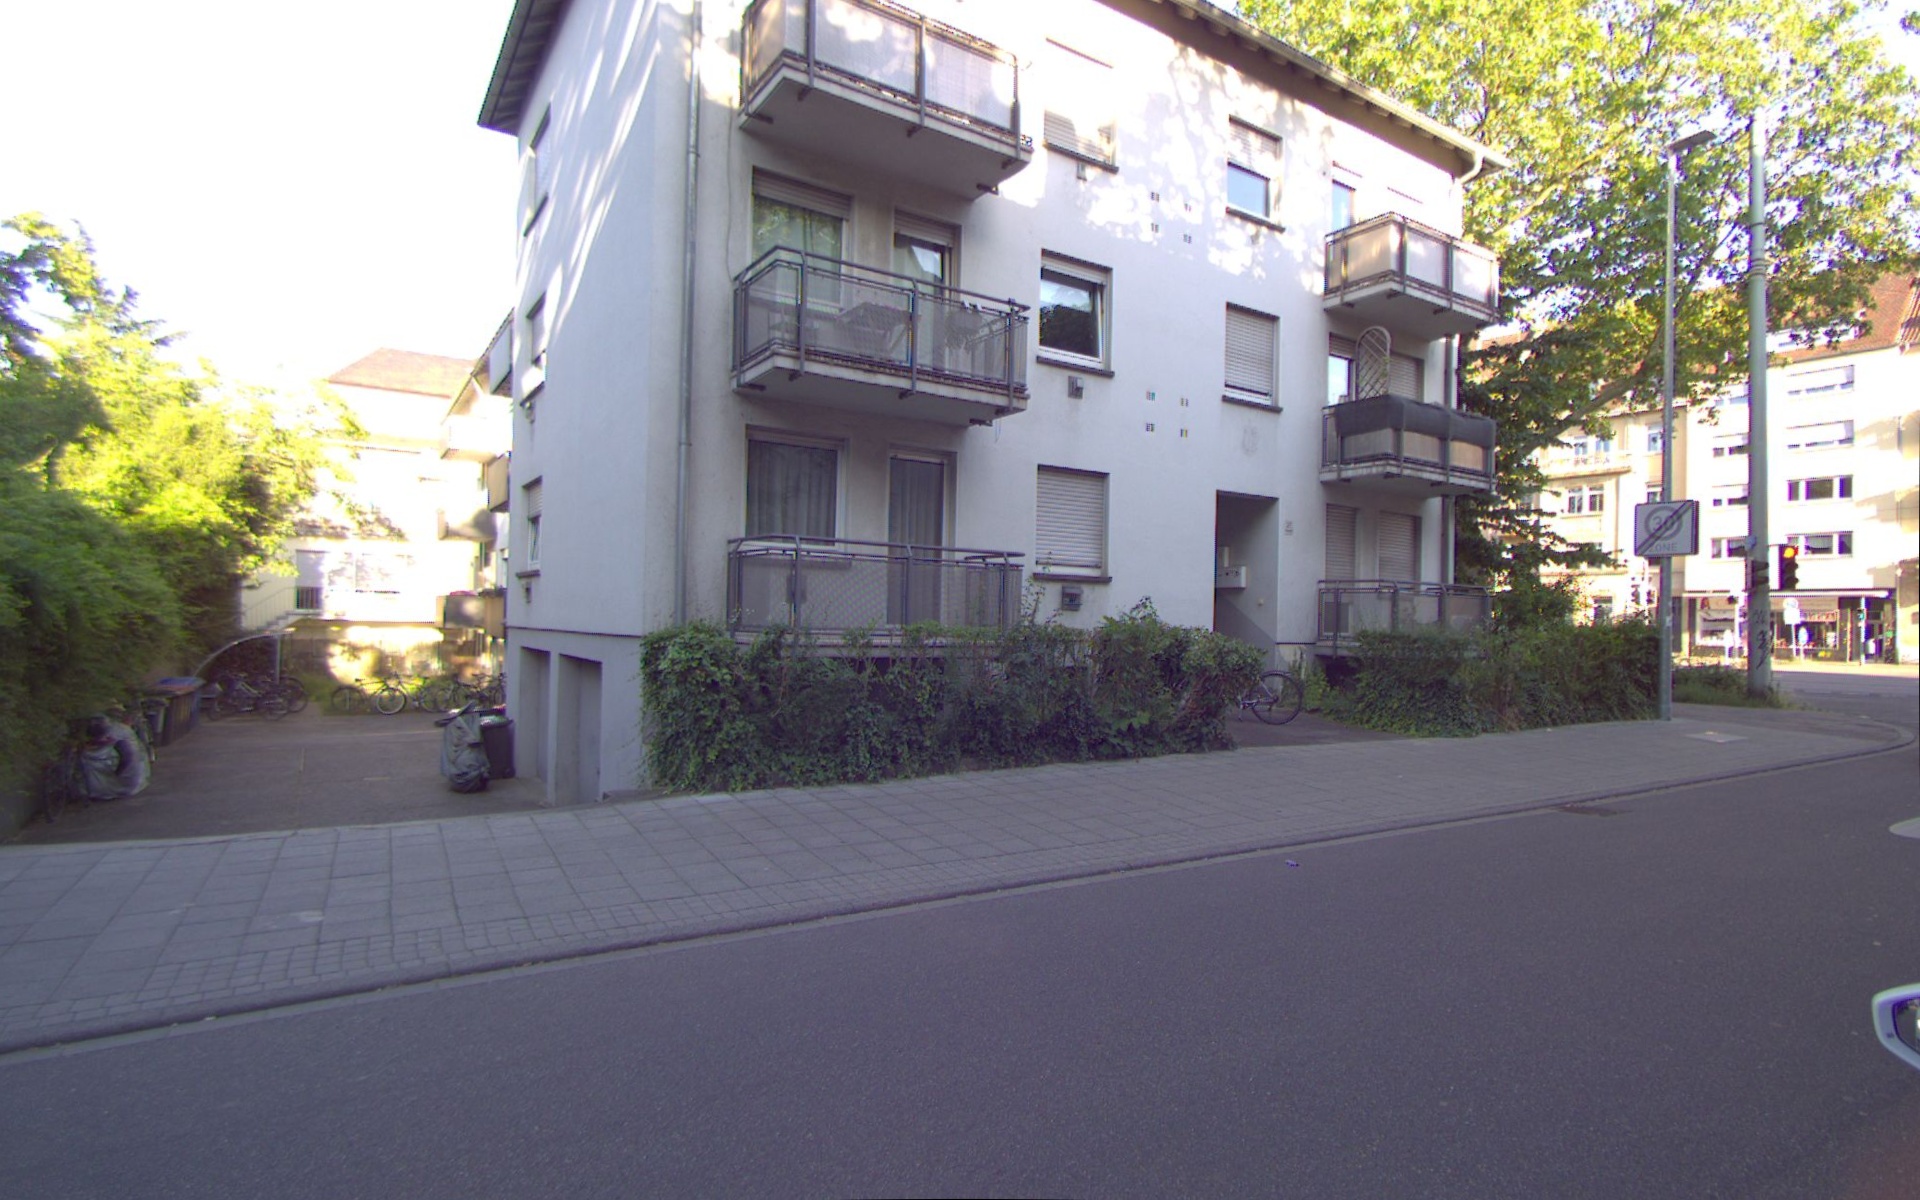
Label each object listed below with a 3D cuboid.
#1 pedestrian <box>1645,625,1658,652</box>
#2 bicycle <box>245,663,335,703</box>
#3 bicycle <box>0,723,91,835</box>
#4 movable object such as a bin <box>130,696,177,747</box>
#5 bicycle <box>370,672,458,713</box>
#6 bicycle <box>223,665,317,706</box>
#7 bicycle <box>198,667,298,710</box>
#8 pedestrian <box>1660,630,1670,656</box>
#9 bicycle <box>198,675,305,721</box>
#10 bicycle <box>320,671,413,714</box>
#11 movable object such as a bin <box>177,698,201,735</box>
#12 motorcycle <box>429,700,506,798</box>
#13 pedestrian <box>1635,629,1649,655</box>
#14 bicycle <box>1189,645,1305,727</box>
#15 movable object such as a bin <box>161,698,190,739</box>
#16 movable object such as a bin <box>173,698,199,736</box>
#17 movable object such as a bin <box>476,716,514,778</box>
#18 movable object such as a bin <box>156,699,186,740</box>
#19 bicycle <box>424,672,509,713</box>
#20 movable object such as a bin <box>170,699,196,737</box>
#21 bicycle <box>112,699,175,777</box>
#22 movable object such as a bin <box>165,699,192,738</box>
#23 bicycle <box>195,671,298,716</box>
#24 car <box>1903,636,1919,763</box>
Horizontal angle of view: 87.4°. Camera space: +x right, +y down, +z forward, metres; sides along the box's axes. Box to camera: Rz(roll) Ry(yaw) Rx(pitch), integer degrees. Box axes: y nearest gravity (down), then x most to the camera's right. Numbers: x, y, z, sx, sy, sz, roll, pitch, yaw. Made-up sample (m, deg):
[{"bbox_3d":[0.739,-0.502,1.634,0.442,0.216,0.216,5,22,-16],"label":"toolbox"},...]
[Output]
[{"bbox_3d":[40.272,2.246,58.493,0.558,1.531,0.499,0,-1,41],"label":"pedestrian"},{"bbox_3d":[-19.016,2.359,28.569,2.045,1.034,0.564,4,0,-30],"label":"bicycle"},{"bbox_3d":[-11.004,2.095,12.066,0.509,1.033,1.922,3,-1,-32],"label":"bicycle"},{"bbox_3d":[-14.948,2.247,18.626,0.570,0.891,0.491,2,-4,-30],"label":"movable object such as a bin"},{"bbox_3d":[-14.760,2.505,27.185,2.045,1.034,0.637,4,0,-30],"label":"bicycle"},{"bbox_3d":[-18.992,2.355,27.697,2.045,1.034,0.611,4,0,-30],"label":"bicycle"},{"bbox_3d":[-18.858,2.354,26.660,2.045,1.034,0.611,4,0,-30],"label":"bicycle"},{"bbox_3d":[41.315,2.520,58.865,0.424,1.531,0.472,0,-1,38],"label":"pedestrian"},{"bbox_3d":[-17.273,2.391,24.555,2.045,1.034,0.637,4,0,-30],"label":"bicycle"},{"bbox_3d":[-15.690,2.450,26.618,2.045,1.034,0.637,4,0,-30],"label":"bicycle"},{"bbox_3d":[-16.602,2.496,21.628,0.342,0.768,0.361,2,-4,-30],"label":"movable object such as a bin"},{"bbox_3d":[-7.387,2.191,15.035,0.751,1.268,1.577,1,-2,-36],"label":"motorcycle"},{"bbox_3d":[40.786,2.535,60.072,0.526,1.531,0.510,1,-1,18],"label":"pedestrian"},{"bbox_3d":[3.885,1.147,13.619,1.433,0.988,0.407,3,0,21],"label":"bicycle"},{"bbox_3d":[-15.825,2.388,20.266,0.377,0.784,0.361,2,-4,-30],"label":"movable object such as a bin"},{"bbox_3d":[-16.400,2.470,21.289,0.362,0.768,0.361,2,-4,-30],"label":"movable object such as a bin"},{"bbox_3d":[-7.498,2.355,16.188,0.428,0.899,0.720,1,-2,-34],"label":"movable object such as a bin"},{"bbox_3d":[-15.642,2.360,19.925,0.393,0.784,0.361,2,-4,-30],"label":"movable object such as a bin"},{"bbox_3d":[-13.665,2.566,27.826,2.045,1.034,0.637,4,0,-30],"label":"bicycle"},{"bbox_3d":[-16.207,2.454,20.949,0.362,0.768,0.361,2,-4,-30],"label":"movable object such as a bin"},{"bbox_3d":[-13.219,2.197,16.298,0.509,1.033,1.922,3,-1,-32],"label":"bicycle"},{"bbox_3d":[-16.020,2.426,20.600,0.371,0.768,0.361,2,-4,-30],"label":"movable object such as a bin"},{"bbox_3d":[-18.025,2.373,25.434,2.045,1.034,0.568,4,0,-30],"label":"bicycle"},{"bbox_3d":[13.391,1.170,12.225,4.252,1.481,1.771,1,-2,-32],"label":"car"}]
